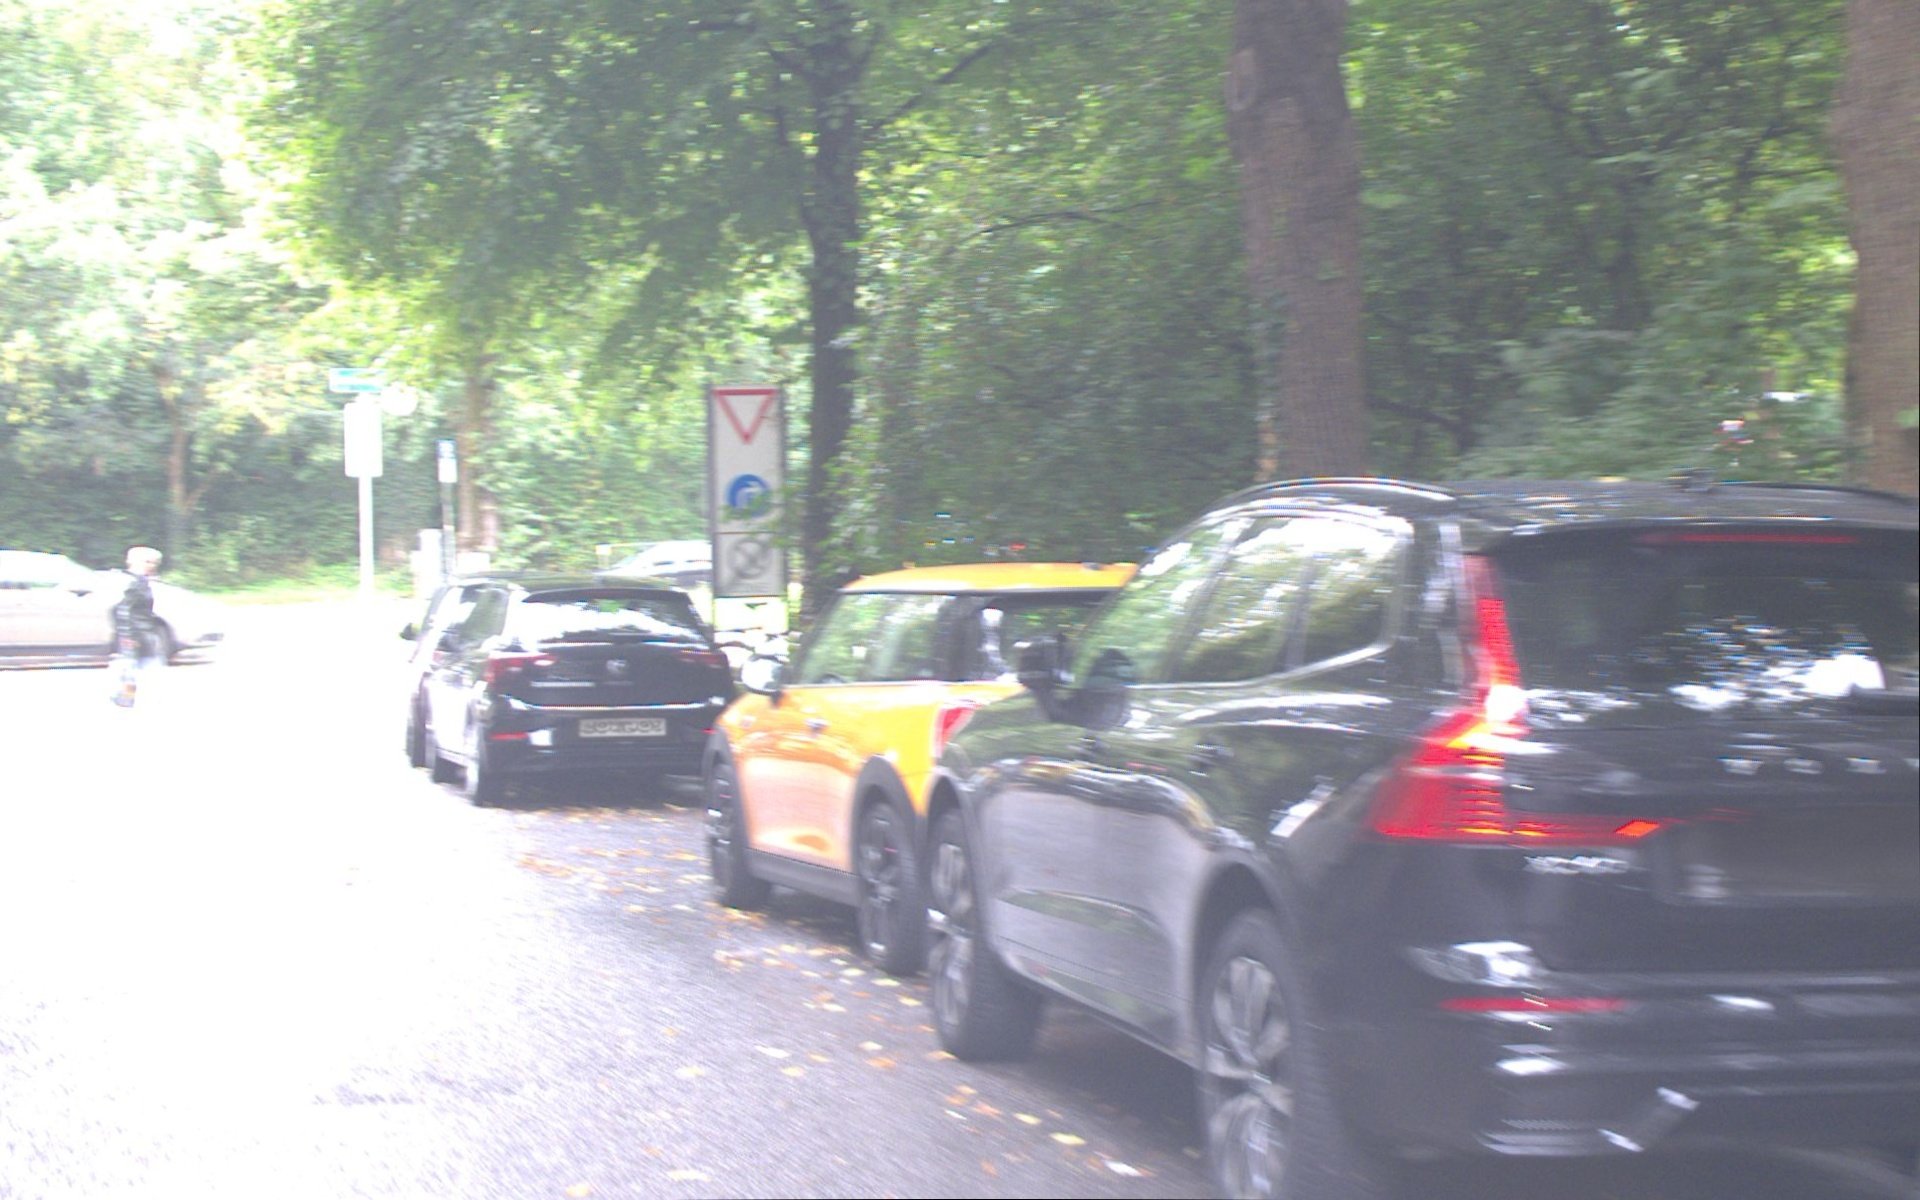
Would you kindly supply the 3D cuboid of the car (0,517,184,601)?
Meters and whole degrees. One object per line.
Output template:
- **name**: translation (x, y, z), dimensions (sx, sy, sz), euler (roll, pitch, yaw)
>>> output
- **car**: translation (-18.126, -0.819, 69.872), dimensions (4.433, 1.573, 1.932), euler (-2, 1, -16)

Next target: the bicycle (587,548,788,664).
- **bicycle**: translation (-2.439, 0.050, 30.819), dimensions (1.752, 0.978, 0.273), euler (-2, 1, -4)

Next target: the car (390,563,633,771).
- **car**: translation (-3.589, 0.468, 27.094), dimensions (1.647, 1.469, 3.644), euler (-1, 1, -11)

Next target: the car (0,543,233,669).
- **car**: translation (-11.697, 0.079, 43.352), dimensions (4.800, 1.490, 1.843), euler (-1, 1, -8)

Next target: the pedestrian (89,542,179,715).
- **pedestrian**: translation (-7.998, 0.265, 33.315), dimensions (0.779, 1.612, 0.761), euler (-1, 3, -11)

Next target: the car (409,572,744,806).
- **car**: translation (-2.645, 0.520, 22.943), dimensions (1.681, 1.353, 4.010), euler (-1, 1, -14)

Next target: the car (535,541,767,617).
- **car**: translation (-6.661, -0.459, 74.089), dimensions (4.580, 1.466, 1.932), euler (-2, 1, -21)

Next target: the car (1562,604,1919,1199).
- **car**: translation (2.470, 0.714, 3.695), dimensions (1.898, 1.408, 4.431), euler (-3, 1, -14)

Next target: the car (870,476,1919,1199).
- **car**: translation (1.141, 0.542, 8.549), dimensions (1.831, 1.623, 4.527), euler (-1, 1, -13)

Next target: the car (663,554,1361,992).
- **car**: translation (0.045, 0.548, 13.454), dimensions (1.618, 1.407, 3.781), euler (-1, 1, -17)
